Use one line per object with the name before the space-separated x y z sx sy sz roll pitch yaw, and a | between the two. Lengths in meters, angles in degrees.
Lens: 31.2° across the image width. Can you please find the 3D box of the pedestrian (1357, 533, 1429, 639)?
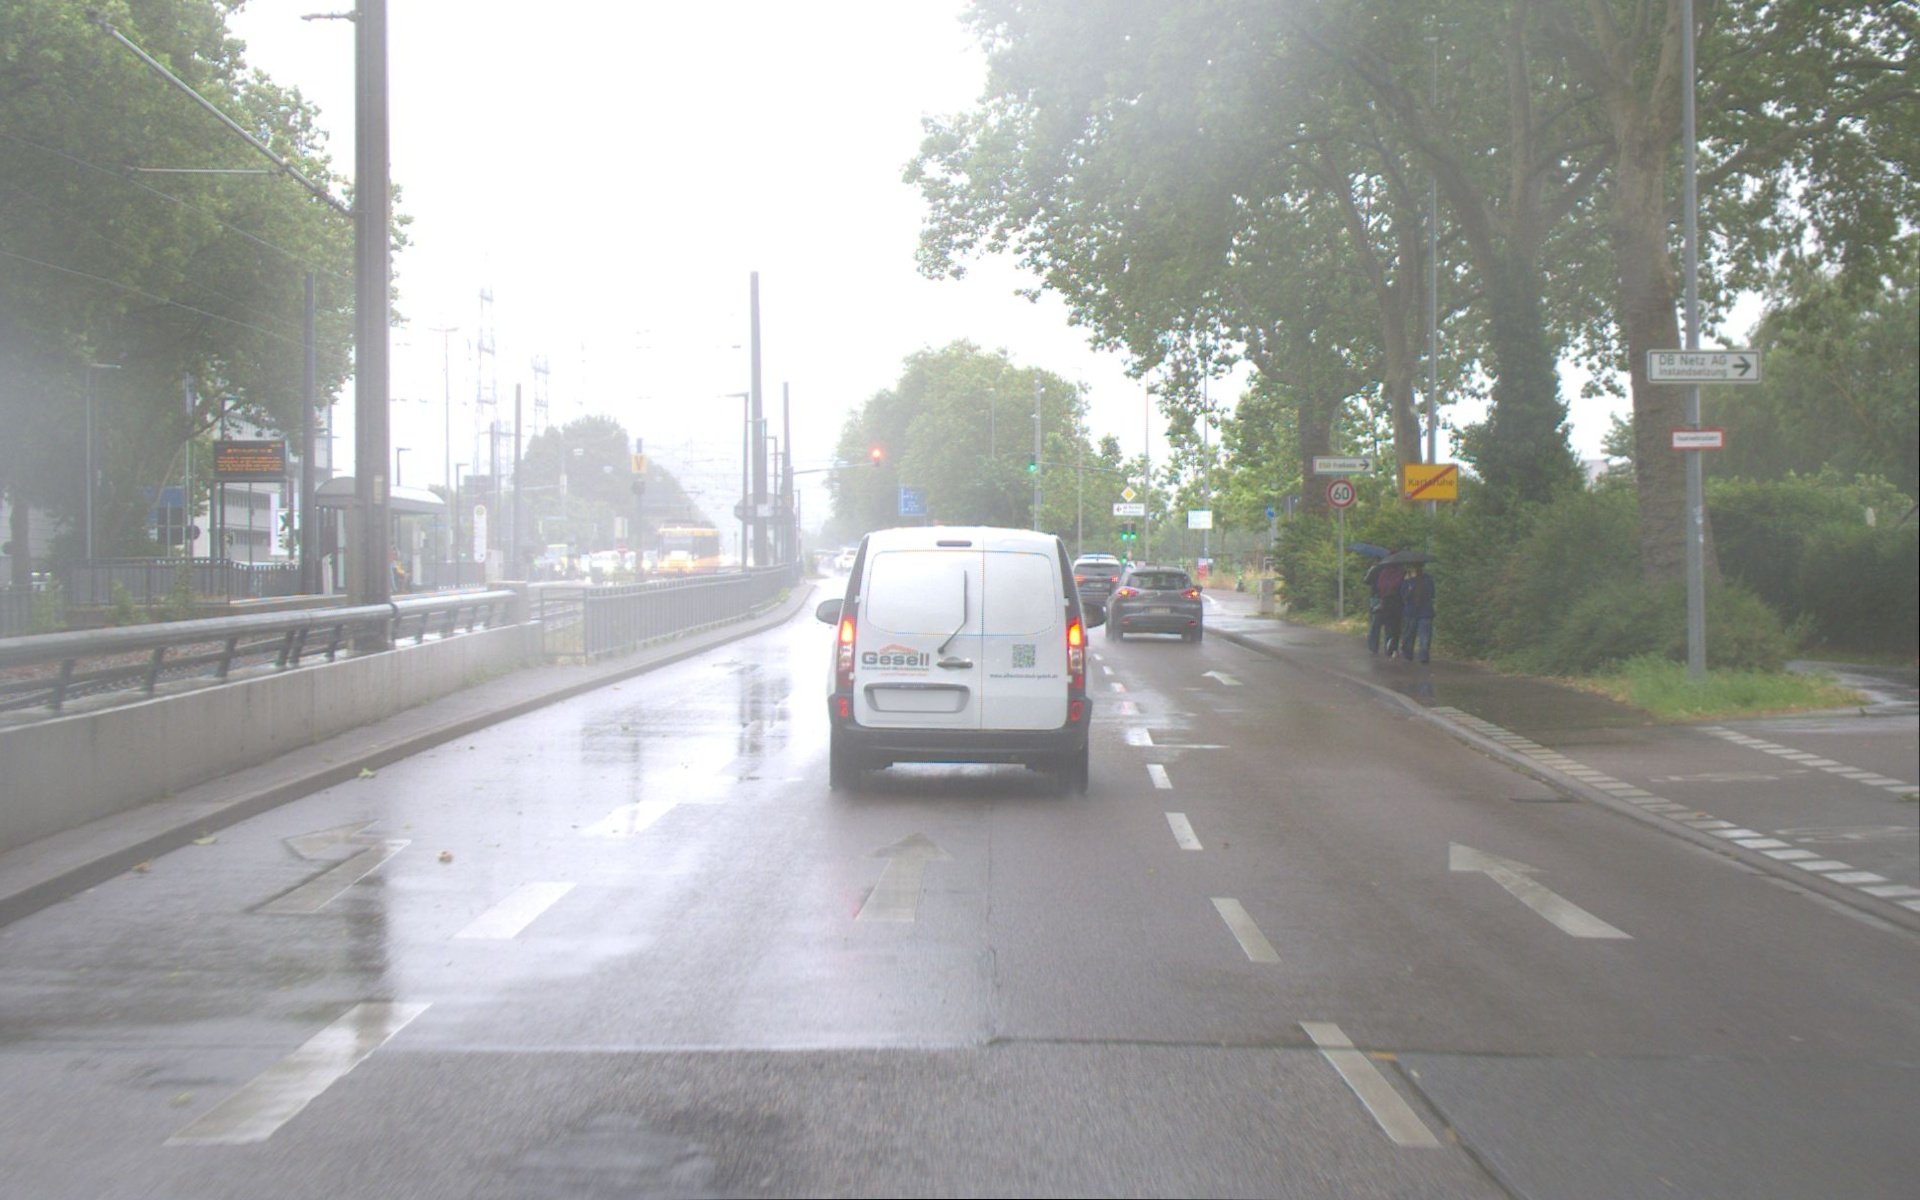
pedestrian | 6.571 -0.217 52.231 0.947 1.583 1.294 0 0 1

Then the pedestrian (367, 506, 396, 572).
pedestrian | -17.076 -1.802 101.466 0.621 1.926 0.814 2 0 4

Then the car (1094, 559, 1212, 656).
car | 3.681 0.120 66.160 1.993 1.744 4.000 2 1 0

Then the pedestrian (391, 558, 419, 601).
pedestrian | -17.251 -0.641 106.924 0.643 1.298 0.814 2 0 4

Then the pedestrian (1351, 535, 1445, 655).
pedestrian | 6.832 -0.082 53.703 1.240 1.779 1.147 -3 0 1

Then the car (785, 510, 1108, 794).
car | -0.166 0.313 24.331 2.024 1.769 4.274 2 1 -2

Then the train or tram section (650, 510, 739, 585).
train or tram section | -15.451 -3.029 202.413 3.770 4.023 27.095 2 1 -2

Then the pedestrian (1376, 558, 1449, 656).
pedestrian | 6.505 0.097 49.475 0.892 1.385 1.016 -1 0 1

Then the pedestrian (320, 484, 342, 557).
pedestrian | -17.398 -2.194 95.104 0.493 2.007 0.582 2 0 -5
